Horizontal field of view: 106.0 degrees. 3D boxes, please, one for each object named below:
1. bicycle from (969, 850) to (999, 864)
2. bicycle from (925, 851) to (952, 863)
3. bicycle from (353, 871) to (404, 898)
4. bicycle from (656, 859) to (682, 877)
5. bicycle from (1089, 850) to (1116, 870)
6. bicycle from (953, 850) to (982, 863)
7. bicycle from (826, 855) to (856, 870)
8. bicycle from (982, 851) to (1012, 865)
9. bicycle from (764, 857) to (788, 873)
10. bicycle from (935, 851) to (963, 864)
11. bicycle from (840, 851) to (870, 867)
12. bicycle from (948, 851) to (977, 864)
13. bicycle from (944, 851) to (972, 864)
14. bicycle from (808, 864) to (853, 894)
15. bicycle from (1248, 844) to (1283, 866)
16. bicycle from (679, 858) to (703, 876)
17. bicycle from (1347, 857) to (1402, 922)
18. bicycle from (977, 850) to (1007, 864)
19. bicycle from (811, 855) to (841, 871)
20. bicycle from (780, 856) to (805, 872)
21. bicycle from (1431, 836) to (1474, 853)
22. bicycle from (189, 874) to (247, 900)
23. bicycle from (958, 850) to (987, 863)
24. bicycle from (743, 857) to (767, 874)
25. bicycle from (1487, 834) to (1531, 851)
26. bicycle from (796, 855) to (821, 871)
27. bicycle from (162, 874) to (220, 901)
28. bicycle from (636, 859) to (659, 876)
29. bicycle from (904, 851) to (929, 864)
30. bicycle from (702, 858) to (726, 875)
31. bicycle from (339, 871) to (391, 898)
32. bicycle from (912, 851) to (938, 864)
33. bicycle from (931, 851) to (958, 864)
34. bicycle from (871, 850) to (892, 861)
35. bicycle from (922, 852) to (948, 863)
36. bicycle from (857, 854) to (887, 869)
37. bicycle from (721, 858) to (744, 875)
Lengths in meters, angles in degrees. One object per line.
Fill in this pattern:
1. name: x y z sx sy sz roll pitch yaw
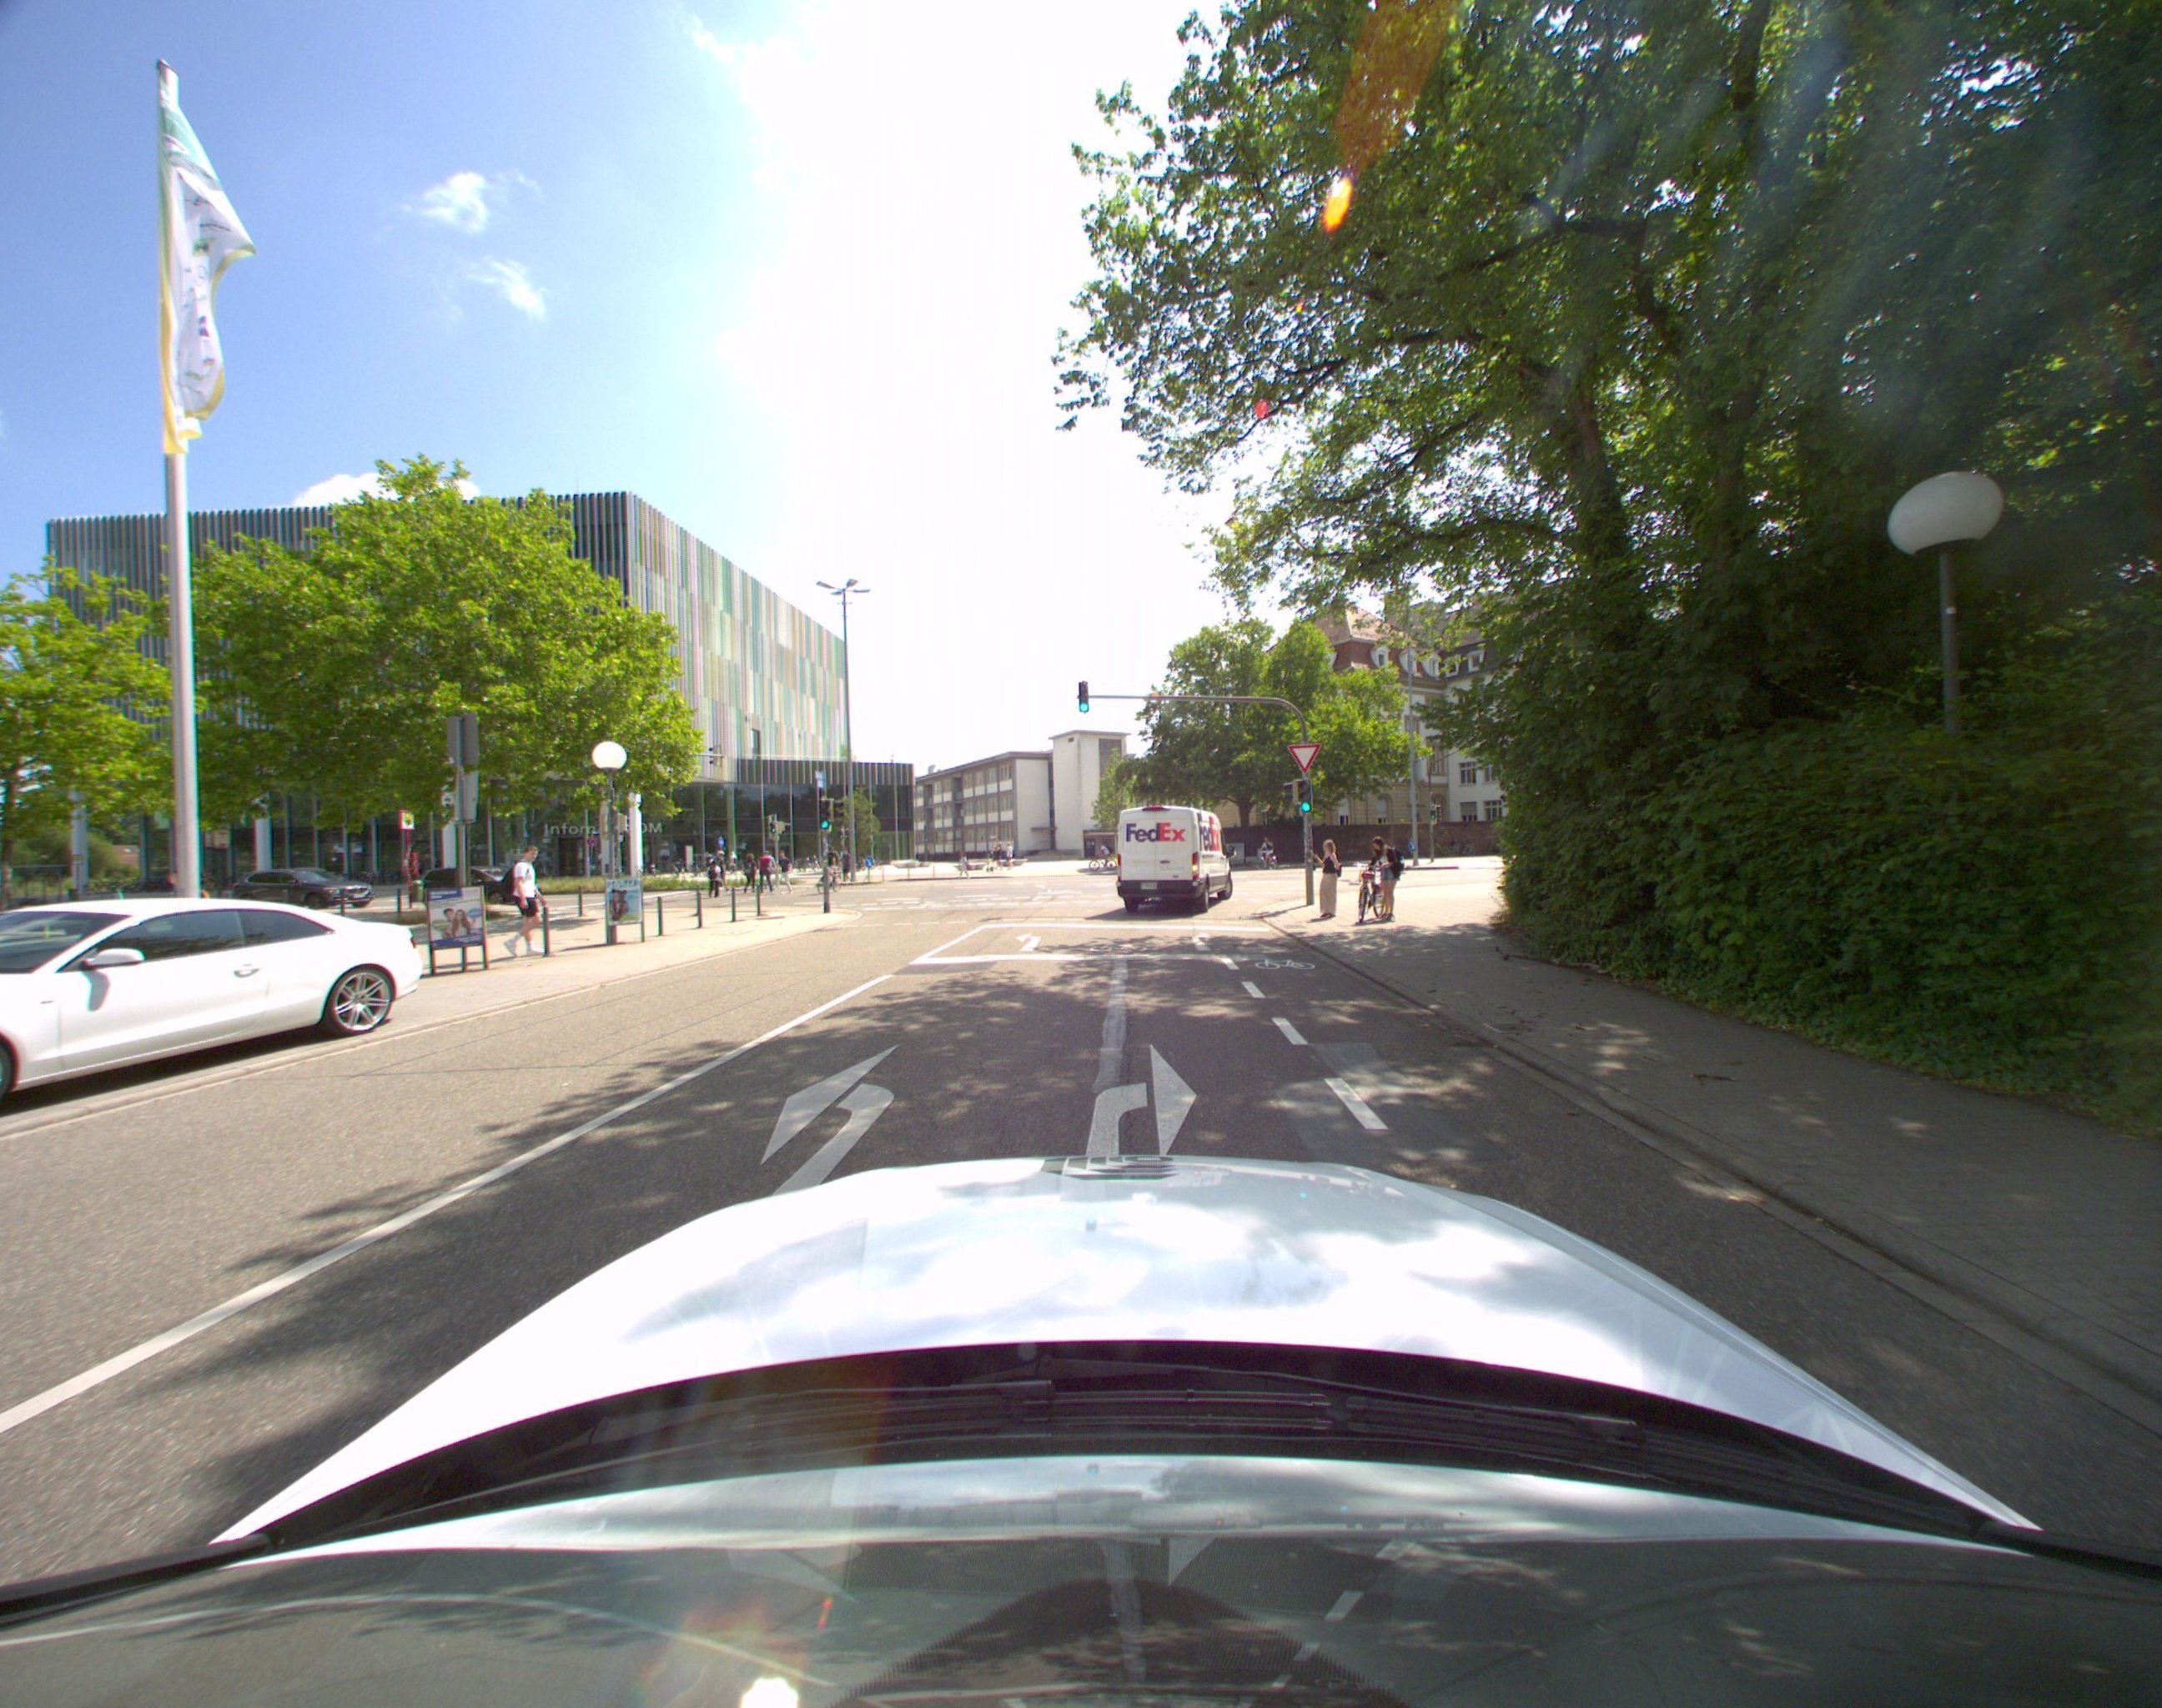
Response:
1. bicycle: -10.380 0.318 87.186 2.977 1.363 1.262 -1 0 -34
2. bicycle: -17.140 0.406 98.077 2.977 1.363 1.105 -1 0 -34
3. bicycle: -51.423 2.181 59.654 0.954 1.838 2.956 -1 0 6
4. bicycle: -30.215 0.996 59.728 1.383 1.237 2.920 -1 0 -33
5. bicycle: 1.361 0.363 51.021 0.839 1.145 2.007 -2 0 26
6. bicycle: -12.637 0.319 90.539 2.977 1.363 1.105 -1 0 -34
7. bicycle: -19.854 0.705 67.244 1.207 1.237 2.915 -1 0 -42
8. bicycle: -8.740 0.399 84.737 2.977 1.363 1.105 -1 0 -34
9. bicycle: -24.148 0.843 64.471 1.205 1.237 2.920 -1 0 -33
10. bicycle: -15.313 0.395 94.654 2.977 1.363 1.105 -1 0 -34
11. bicycle: -18.863 0.408 67.919 1.207 1.237 2.915 -1 0 -42
12. bicycle: -13.339 0.359 91.630 2.977 1.363 1.105 -1 0 -34
13. bicycle: -14.003 0.374 92.688 2.977 1.363 1.105 -1 0 -34
14. bicycle: -10.271 1.015 33.469 0.765 1.122 2.034 -2 0 13
15. bicycle: 9.677 0.054 42.789 0.553 1.131 2.155 -2 0 -27
16. bicycle: -29.000 0.948 60.477 1.205 1.237 2.920 -1 0 -33
17. bicycle: 5.732 0.663 15.838 0.586 1.127 1.754 -5 -1 31
18. bicycle: -9.413 0.303 85.872 2.977 1.363 1.105 -1 0 -34
19. bicycle: -20.775 0.712 66.373 1.207 1.237 2.915 -1 0 -42
20. bicycle: -23.122 0.784 65.198 1.205 1.237 2.920 -1 0 -33
21. bicycle: 23.647 -0.612 51.858 2.373 0.994 0.696 -2 0 -1
22. bicycle: -64.426 2.437 60.831 0.981 1.838 2.954 -1 0 4
23. bicycle: -11.914 0.305 89.445 2.977 1.363 1.105 -1 0 -34
24. bicycle: -25.510 0.873 63.748 1.205 1.237 2.920 -1 0 -33
25. bicycle: 27.409 -0.721 52.172 2.373 0.994 0.724 -2 0 -1
26. bicycle: -22.028 0.758 65.836 1.206 1.237 2.920 -1 0 -34
27. bicycle: -66.584 2.479 60.955 0.955 1.838 2.954 -1 0 4
28. bicycle: -31.407 0.966 58.972 1.205 1.237 2.920 -1 0 -34
29. bicycle: -21.231 0.470 105.387 2.977 1.574 1.105 -1 0 -34
30. bicycle: -27.715 0.942 61.478 1.205 1.237 2.920 -1 0 -33
31. bicycle: -52.516 2.203 59.770 0.954 1.838 2.957 -1 0 7
32. bicycle: -19.718 0.458 103.015 2.977 1.574 1.105 -1 0 -34
33. bicycle: -16.119 0.406 96.180 2.977 1.363 1.105 -1 0 -34
34. bicycle: -28.908 0.183 117.960 1.104 1.574 2.984 -1 0 30
35. bicycle: -17.768 0.416 99.290 2.977 1.363 1.105 -1 0 -34
36. bicycle: -17.613 0.634 68.468 1.207 1.237 2.915 -1 0 -42
37. bicycle: -26.649 0.941 62.220 1.205 1.237 2.921 -1 0 -32
